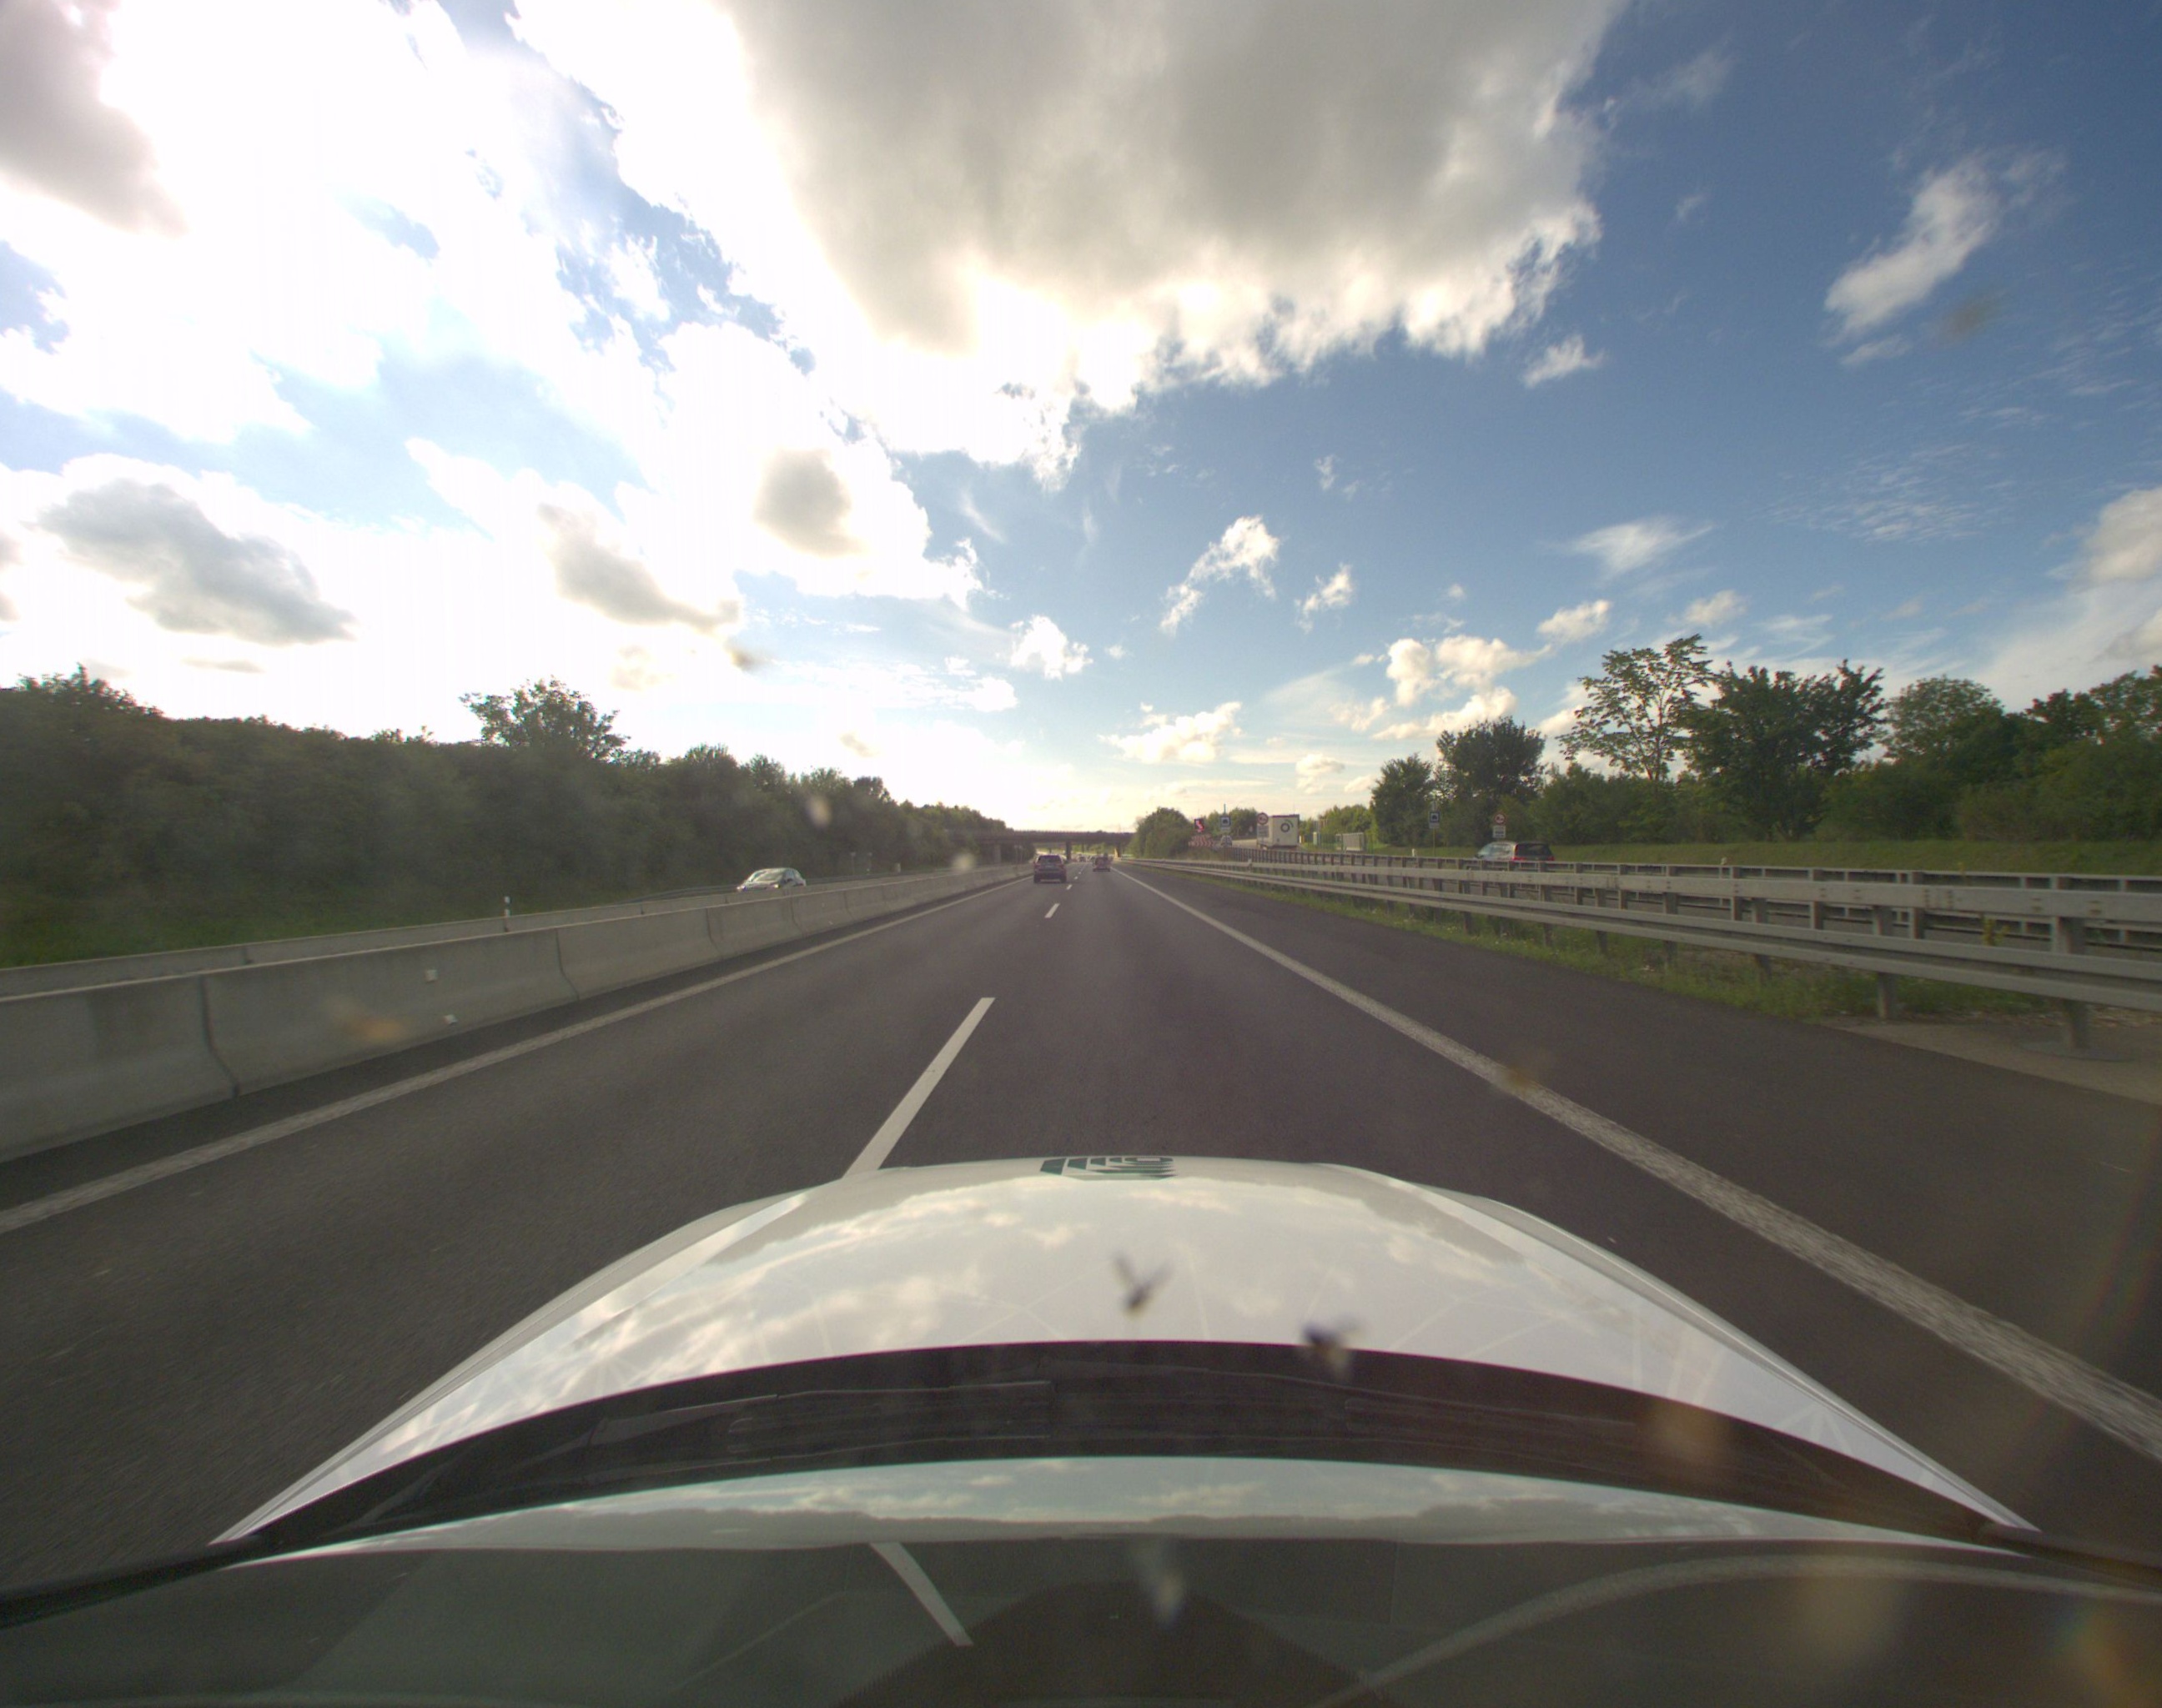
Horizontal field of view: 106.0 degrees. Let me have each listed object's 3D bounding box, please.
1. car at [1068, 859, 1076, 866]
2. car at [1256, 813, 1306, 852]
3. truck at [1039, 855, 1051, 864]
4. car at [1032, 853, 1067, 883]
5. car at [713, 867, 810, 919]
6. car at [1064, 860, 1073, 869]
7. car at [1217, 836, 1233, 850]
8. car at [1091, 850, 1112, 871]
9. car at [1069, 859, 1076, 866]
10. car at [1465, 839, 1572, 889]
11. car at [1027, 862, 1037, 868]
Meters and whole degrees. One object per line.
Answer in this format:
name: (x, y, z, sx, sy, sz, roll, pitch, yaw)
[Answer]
car: (-2.537, 2.351, 230.204, 1.987, 2.013, 4.000, -3, 0, 0)
car: (20.908, -2.134, 85.621, 3.562, 3.676, 7.554, -3, 0, 3)
truck: (-8.487, 1.285, 191.796, 2.368, 2.013, 7.436, -3, 0, 1)
car: (-1.827, 0.799, 48.789, 1.743, 1.630, 3.611, -3, 0, 2)
car: (-12.088, 1.426, 31.137, 1.987, 1.717, 4.000, -3, 0, 1)
car: (-2.943, 2.355, 189.603, 1.987, 2.013, 4.000, -3, 0, 0)
car: (22.392, -1.618, 126.681, 1.984, 2.013, 4.006, -3, 0, 5)
car: (2.121, 0.691, 84.809, 1.987, 2.081, 4.000, -3, 0, 1)
car: (-2.654, 2.724, 251.372, 1.987, 2.013, 4.000, -3, 0, 0)
car: (16.911, 0.387, 31.729, 1.987, 1.717, 4.000, -3, 0, 1)
car: (-12.866, 2.843, 213.961, 1.987, 1.436, 4.724, -3, 0, 0)
